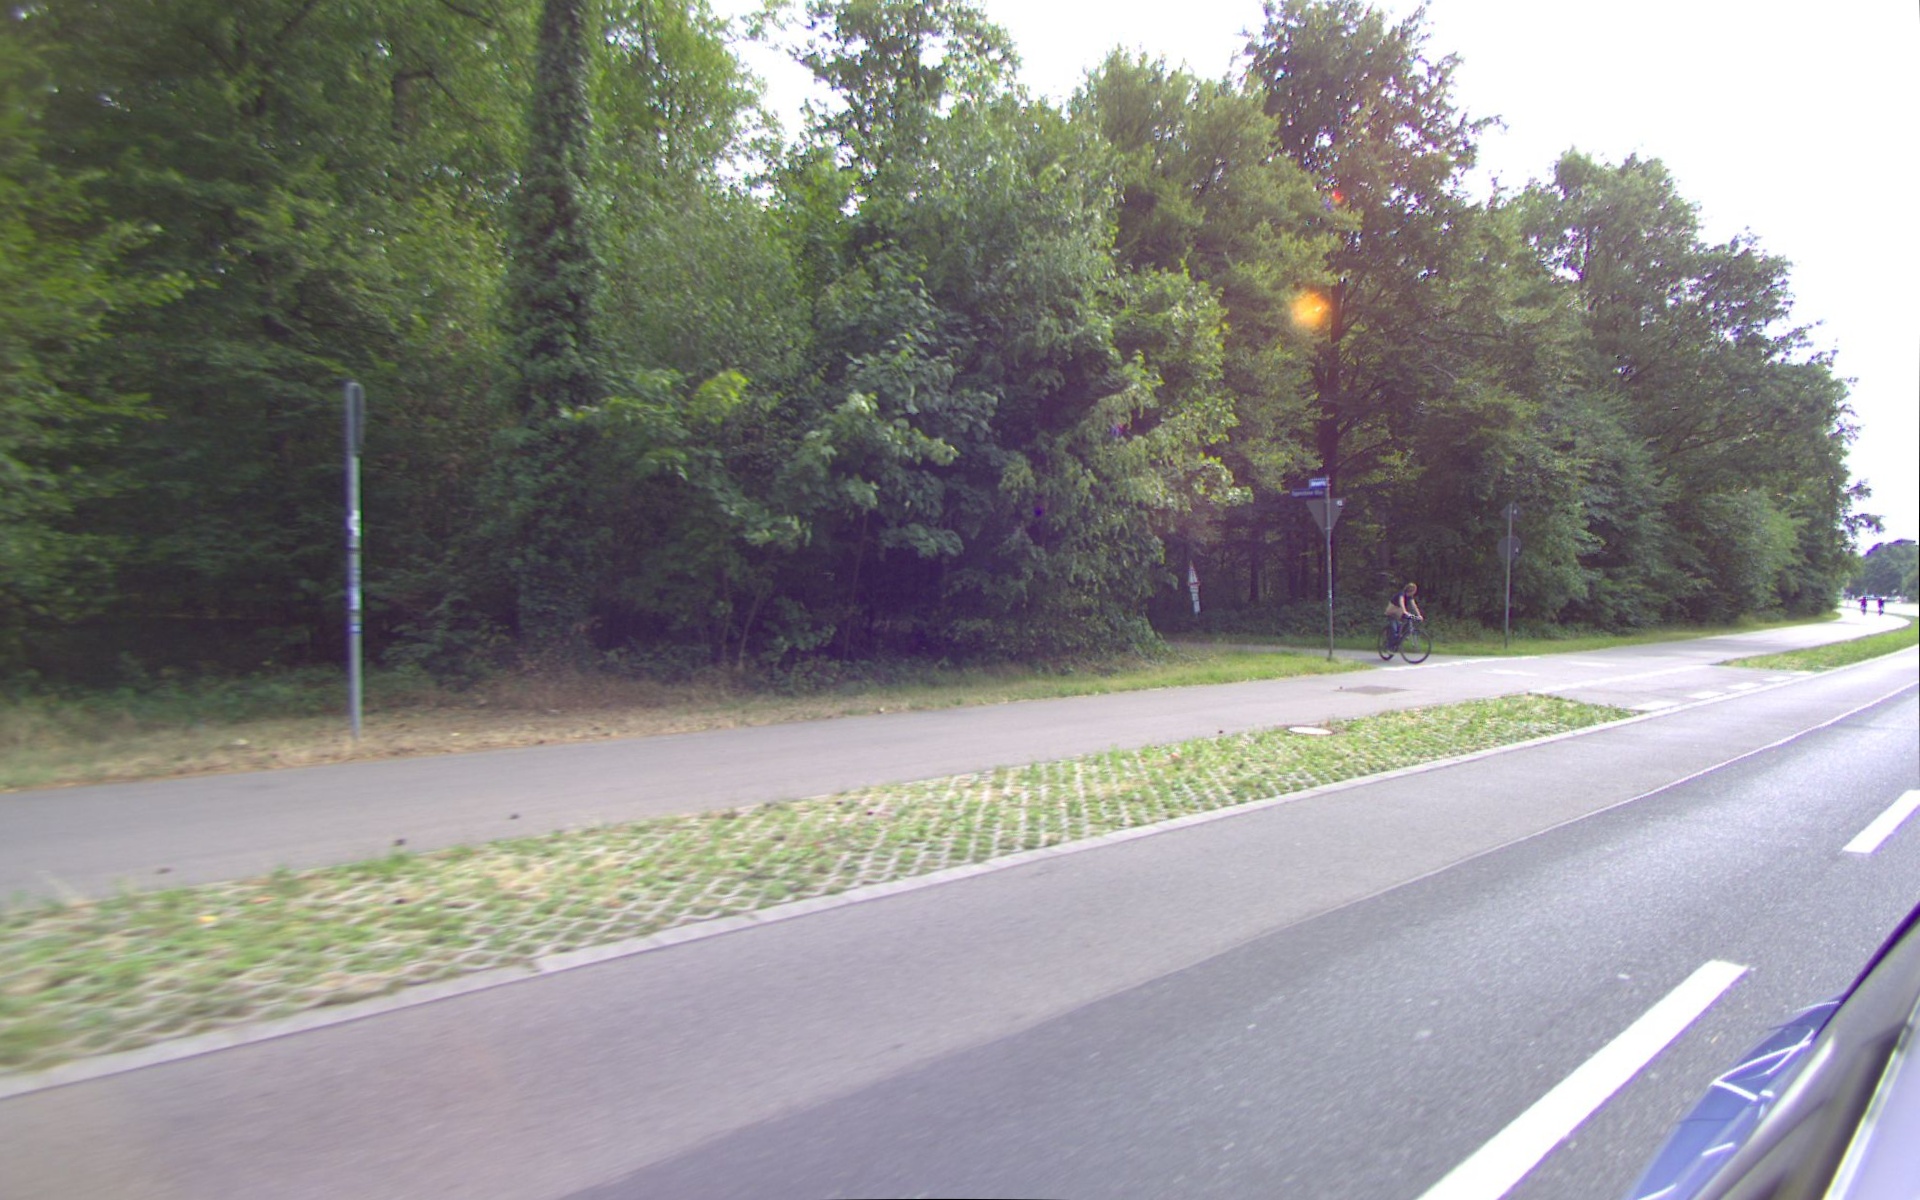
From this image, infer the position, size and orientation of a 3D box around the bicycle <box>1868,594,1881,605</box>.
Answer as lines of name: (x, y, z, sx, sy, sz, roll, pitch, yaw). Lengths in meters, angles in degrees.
bicycle: (76.391, -0.028, 84.555, 0.565, 0.923, 1.861, 5, 2, 37)

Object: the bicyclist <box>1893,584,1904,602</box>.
bicyclist: (77.371, -0.567, 83.418, 0.518, 1.433, 1.170, 1, 1, 37)

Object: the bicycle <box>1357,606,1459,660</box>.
bicycle: (9.296, 0.660, 21.091, 0.696, 1.006, 2.186, 0, 1, -16)

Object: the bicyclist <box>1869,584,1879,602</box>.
bicyclist: (76.352, -0.592, 84.522, 0.518, 1.433, 1.170, -1, 0, 37)

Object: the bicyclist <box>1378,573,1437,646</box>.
bicyclist: (9.314, 0.192, 21.087, 0.696, 1.489, 0.903, 0, 0, -16)
